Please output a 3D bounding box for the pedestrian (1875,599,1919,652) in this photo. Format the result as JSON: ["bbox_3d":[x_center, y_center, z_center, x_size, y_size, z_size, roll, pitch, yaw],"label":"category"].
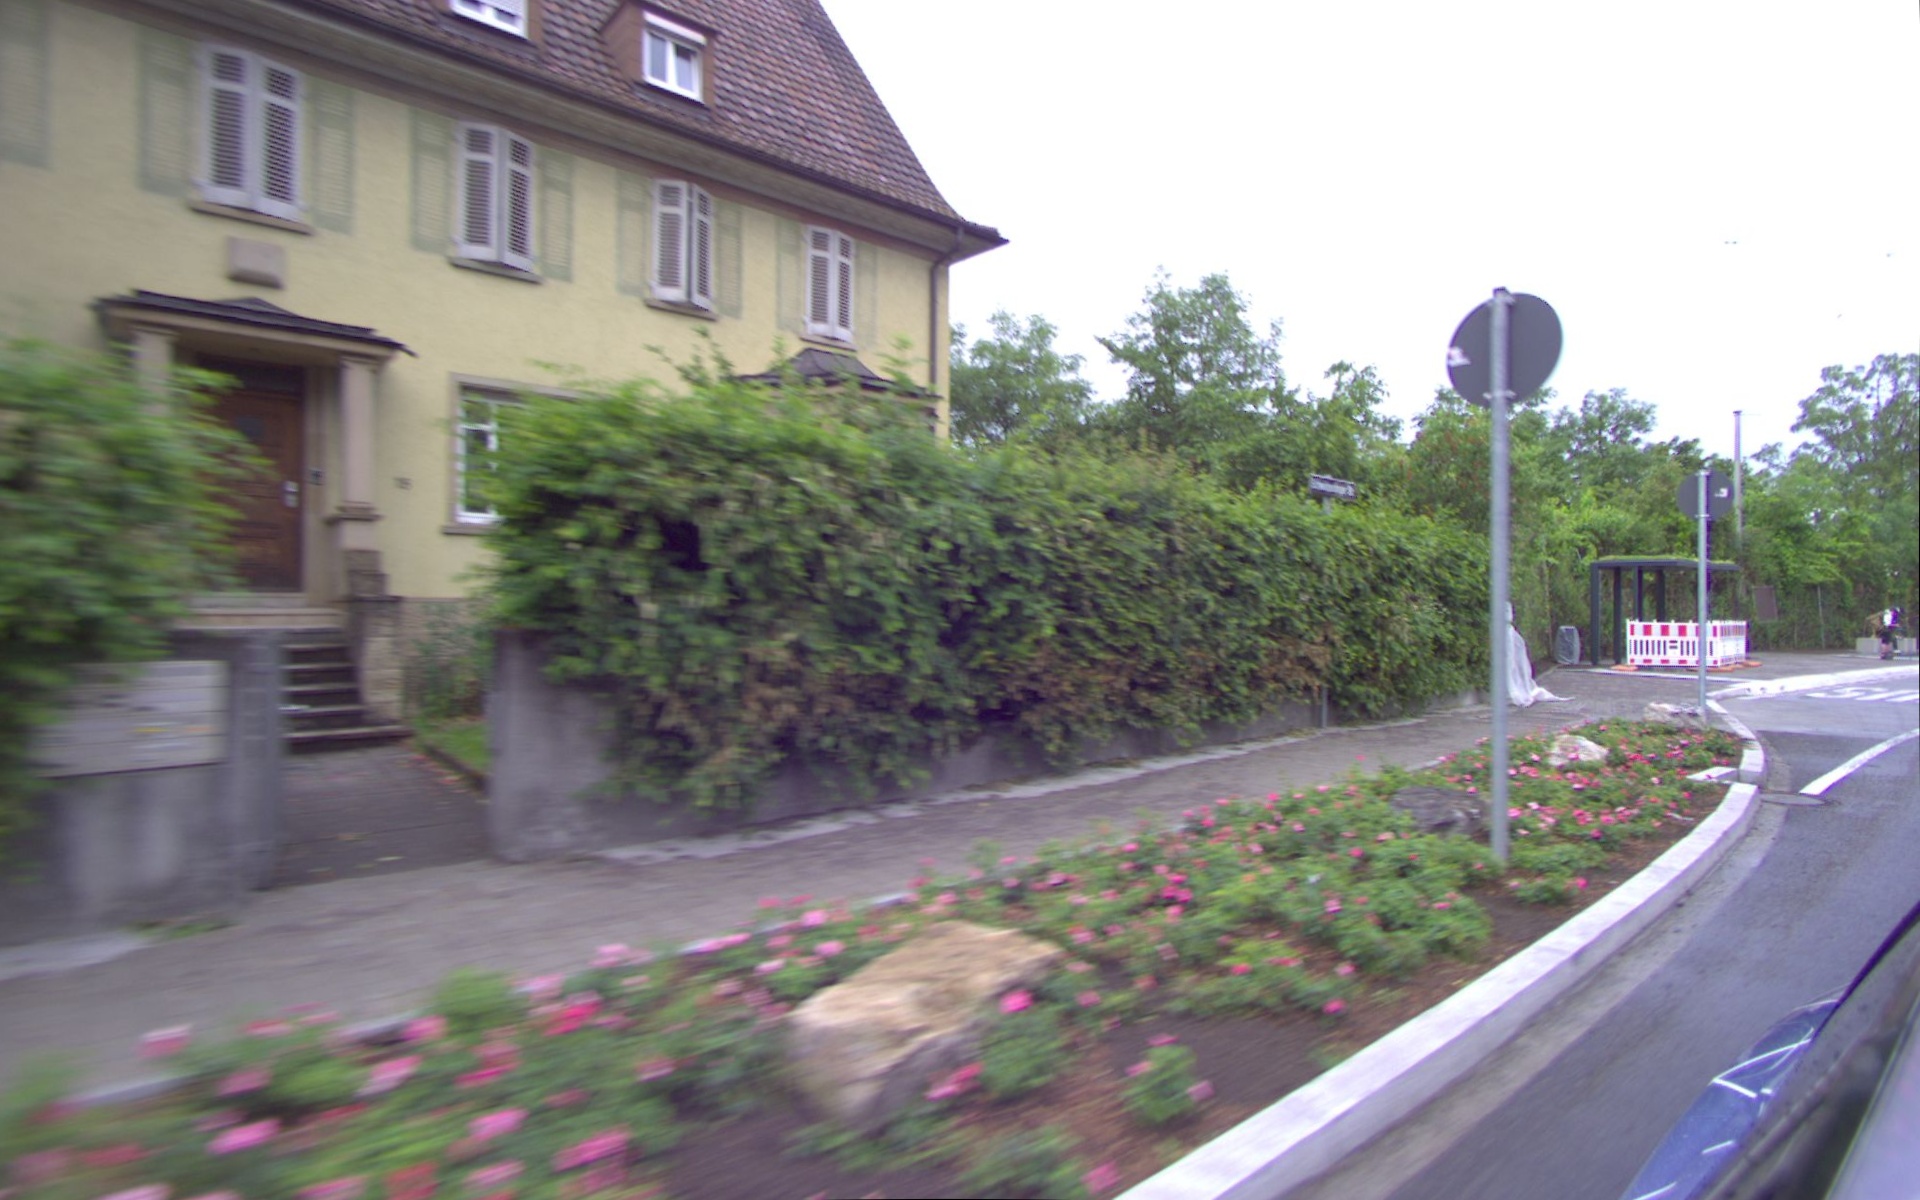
[{"bbox_3d":[27.964,0.747,30.129,0.908,1.566,0.542,0,-1,18],"label":"pedestrian"}]

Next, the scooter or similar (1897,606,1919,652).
[{"bbox_3d":[28.353,0.851,29.747,1.225,1.332,0.231,0,-1,16],"label":"scooter or similar"}]

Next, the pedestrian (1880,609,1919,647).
[{"bbox_3d":[34.226,0.993,36.665,1.054,1.346,0.805,0,0,18],"label":"pedestrian"}]
